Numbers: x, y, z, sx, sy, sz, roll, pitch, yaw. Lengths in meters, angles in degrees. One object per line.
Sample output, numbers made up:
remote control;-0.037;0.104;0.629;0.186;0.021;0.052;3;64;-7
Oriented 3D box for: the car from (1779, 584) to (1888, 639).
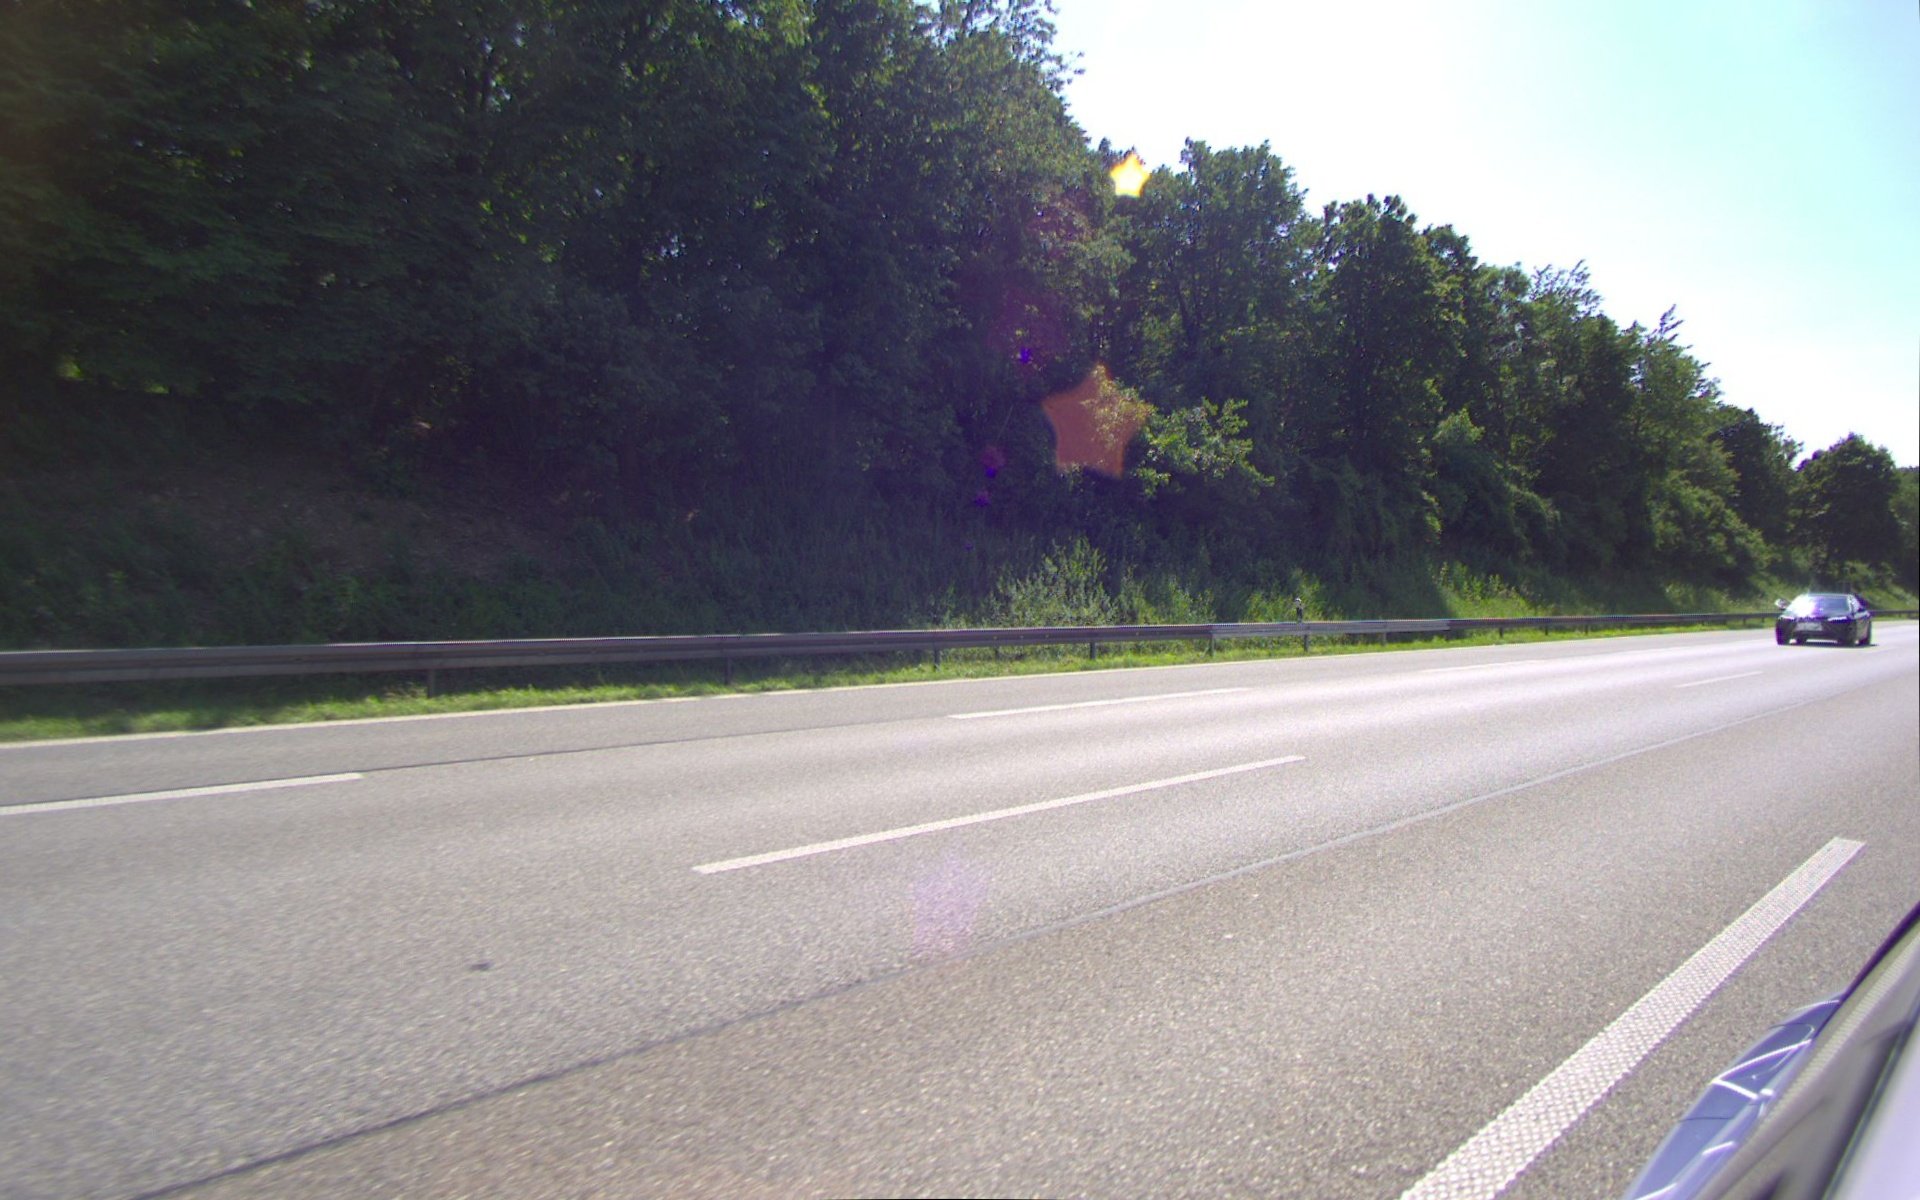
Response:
car;28.858;0.355;33.391;4.602;1.690;1.924;0;0;-39
